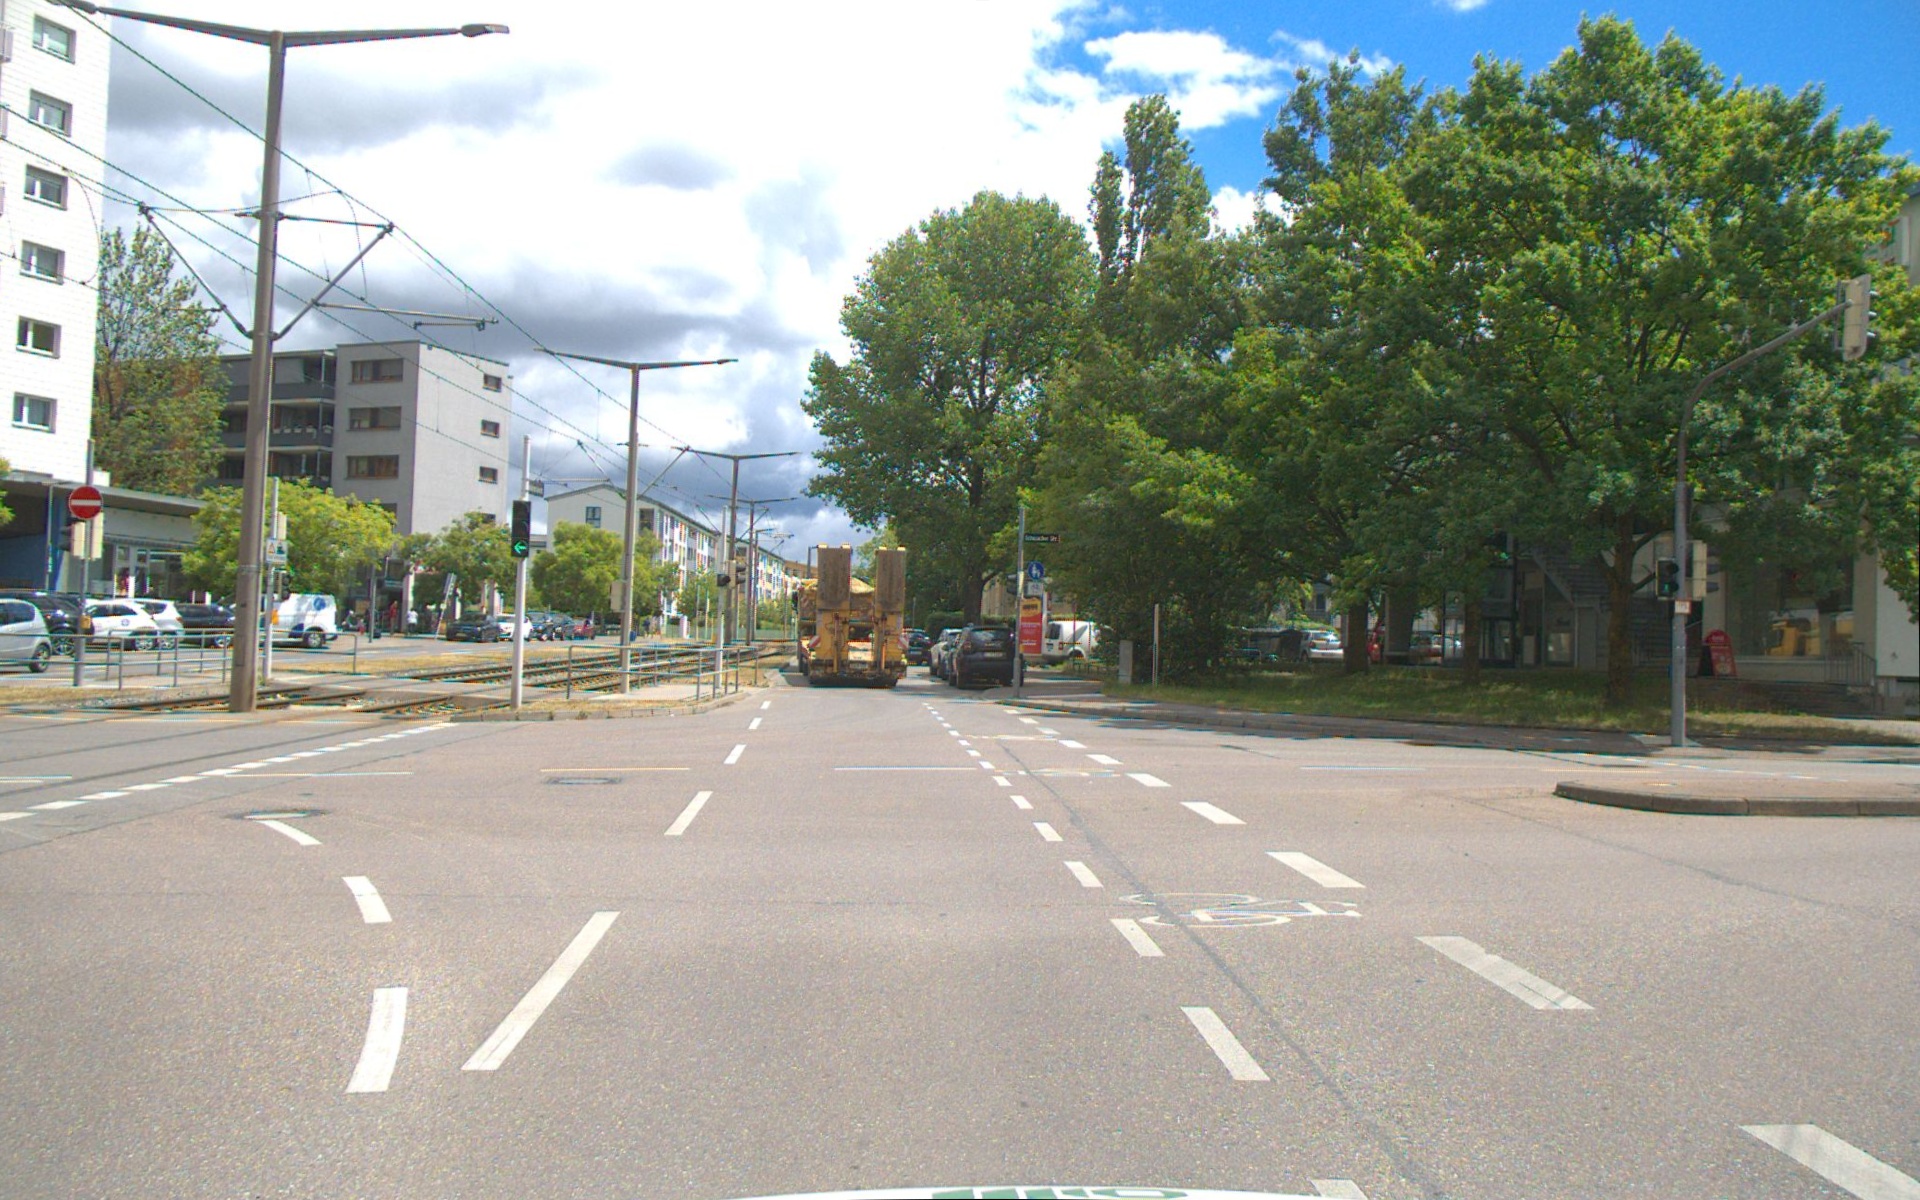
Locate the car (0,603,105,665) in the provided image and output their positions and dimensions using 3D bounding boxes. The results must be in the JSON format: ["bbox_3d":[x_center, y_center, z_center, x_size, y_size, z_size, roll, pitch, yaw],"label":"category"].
[{"bbox_3d":[-25.494,0.898,44.554,1.897,1.619,3.978,0,-1,40],"label":"car"}]

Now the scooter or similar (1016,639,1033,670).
[{"bbox_3d":[2.313,1.947,59.353,0.468,1.073,0.895,1,-1,-9],"label":"scooter or similar"}]

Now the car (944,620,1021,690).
[{"bbox_3d":[0.565,1.455,45.218,1.612,1.793,4.564,1,0,-5],"label":"car"}]

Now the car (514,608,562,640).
[{"bbox_3d":[-24.489,1.379,96.066,1.955,1.692,4.095,3,-1,-5],"label":"car"}]

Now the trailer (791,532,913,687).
[{"bbox_3d":[-3.165,0.292,47.084,2.991,3.839,11.600,1,0,-5],"label":"trailer"}]

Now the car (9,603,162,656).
[{"bbox_3d":[-26.104,0.865,49.405,3.735,1.522,1.720,1,-1,-43],"label":"car"}]

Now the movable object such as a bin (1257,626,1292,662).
[{"bbox_3d":[13.010,1.816,68.458,1.093,1.455,1.284,1,-1,-6],"label":"movable object such as a bin"}]

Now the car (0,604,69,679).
[{"bbox_3d":[-20.768,0.853,34.907,1.781,1.559,3.755,1,-1,1],"label":"car"}]

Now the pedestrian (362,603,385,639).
[{"bbox_3d":[-28.180,1.019,79.476,0.823,1.678,0.613,2,-1,4],"label":"pedestrian"}]

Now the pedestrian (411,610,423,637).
[{"bbox_3d":[-30.221,1.295,92.043,0.492,1.486,0.555,1,-1,-30],"label":"pedestrian"}]

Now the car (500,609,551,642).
[{"bbox_3d":[-23.868,1.356,90.896,1.955,1.692,4.095,3,-1,-5],"label":"car"}]

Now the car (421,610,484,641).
[{"bbox_3d":[-24.919,1.259,81.302,1.699,1.453,4.379,2,-1,0],"label":"car"}]

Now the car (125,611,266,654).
[{"bbox_3d":[-25.981,1.096,56.262,3.970,1.408,1.875,1,-1,-45],"label":"car"}]

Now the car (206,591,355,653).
[{"bbox_3d":[-24.926,0.810,60.805,4.726,2.194,1.875,1,-1,-45],"label":"car"}]

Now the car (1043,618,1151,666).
[{"bbox_3d":[5.476,1.684,65.968,3.938,1.855,1.795,1,-1,-27],"label":"car"}]

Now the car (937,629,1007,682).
[{"bbox_3d":[0.318,1.639,49.706,1.612,1.483,4.070,1,0,-7],"label":"car"}]

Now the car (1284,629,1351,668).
[{"bbox_3d":[15.038,2.022,69.753,1.901,1.517,3.999,1,0,-1],"label":"car"}]

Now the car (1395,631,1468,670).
[{"bbox_3d":[19.821,2.102,69.655,1.709,1.496,3.997,1,0,-4],"label":"car"}]

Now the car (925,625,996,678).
[{"bbox_3d":[-0.029,1.663,54.438,1.750,1.592,4.561,1,0,-8],"label":"car"}]

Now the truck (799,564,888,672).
[{"bbox_3d":[-4.008,0.596,56.363,2.778,3.389,7.976,1,-1,-5],"label":"truck"}]

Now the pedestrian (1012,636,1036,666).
[{"bbox_3d":[2.306,1.819,59.344,0.761,1.073,0.546,1,-1,-9],"label":"pedestrian"}]

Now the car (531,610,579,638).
[{"bbox_3d":[-25.190,1.468,103.031,1.953,1.677,4.099,1,-1,0],"label":"car"}]

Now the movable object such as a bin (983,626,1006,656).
[{"bbox_3d":[1.782,2.097,84.566,1.076,1.464,0.760,1,-1,-5],"label":"movable object such as a bin"}]

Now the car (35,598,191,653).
[{"bbox_3d":[-26.633,0.794,52.098,1.872,1.660,3.977,0,-1,41],"label":"car"}]

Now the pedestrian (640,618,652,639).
[{"bbox_3d":[-24.865,2.274,131.125,0.734,1.691,0.869,1,-1,1],"label":"pedestrian"}]

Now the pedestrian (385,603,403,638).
[{"bbox_3d":[-29.094,1.049,85.019,0.599,1.824,0.843,1,-1,-3],"label":"pedestrian"}]

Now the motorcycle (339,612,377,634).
[{"bbox_3d":[-34.224,1.319,94.007,1.855,1.199,0.741,1,-1,-5],"label":"motorcycle"}]

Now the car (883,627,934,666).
[{"bbox_3d":[-2.139,1.872,67.601,1.780,1.474,3.821,1,0,-7],"label":"car"}]

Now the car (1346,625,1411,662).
[{"bbox_3d":[17.731,1.841,70.233,1.708,1.468,3.999,1,0,-1],"label":"car"}]

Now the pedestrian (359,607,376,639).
[{"bbox_3d":[-29.843,1.153,83.270,0.656,1.601,0.681,1,-1,-30],"label":"pedestrian"}]

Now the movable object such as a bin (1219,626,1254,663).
[{"bbox_3d":[11.085,1.775,66.269,1.093,1.455,1.284,1,-1,-6],"label":"movable object such as a bin"}]

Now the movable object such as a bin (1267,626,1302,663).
[{"bbox_3d":[13.155,1.810,67.050,1.093,1.455,1.284,1,-1,-6],"label":"movable object such as a bin"}]
